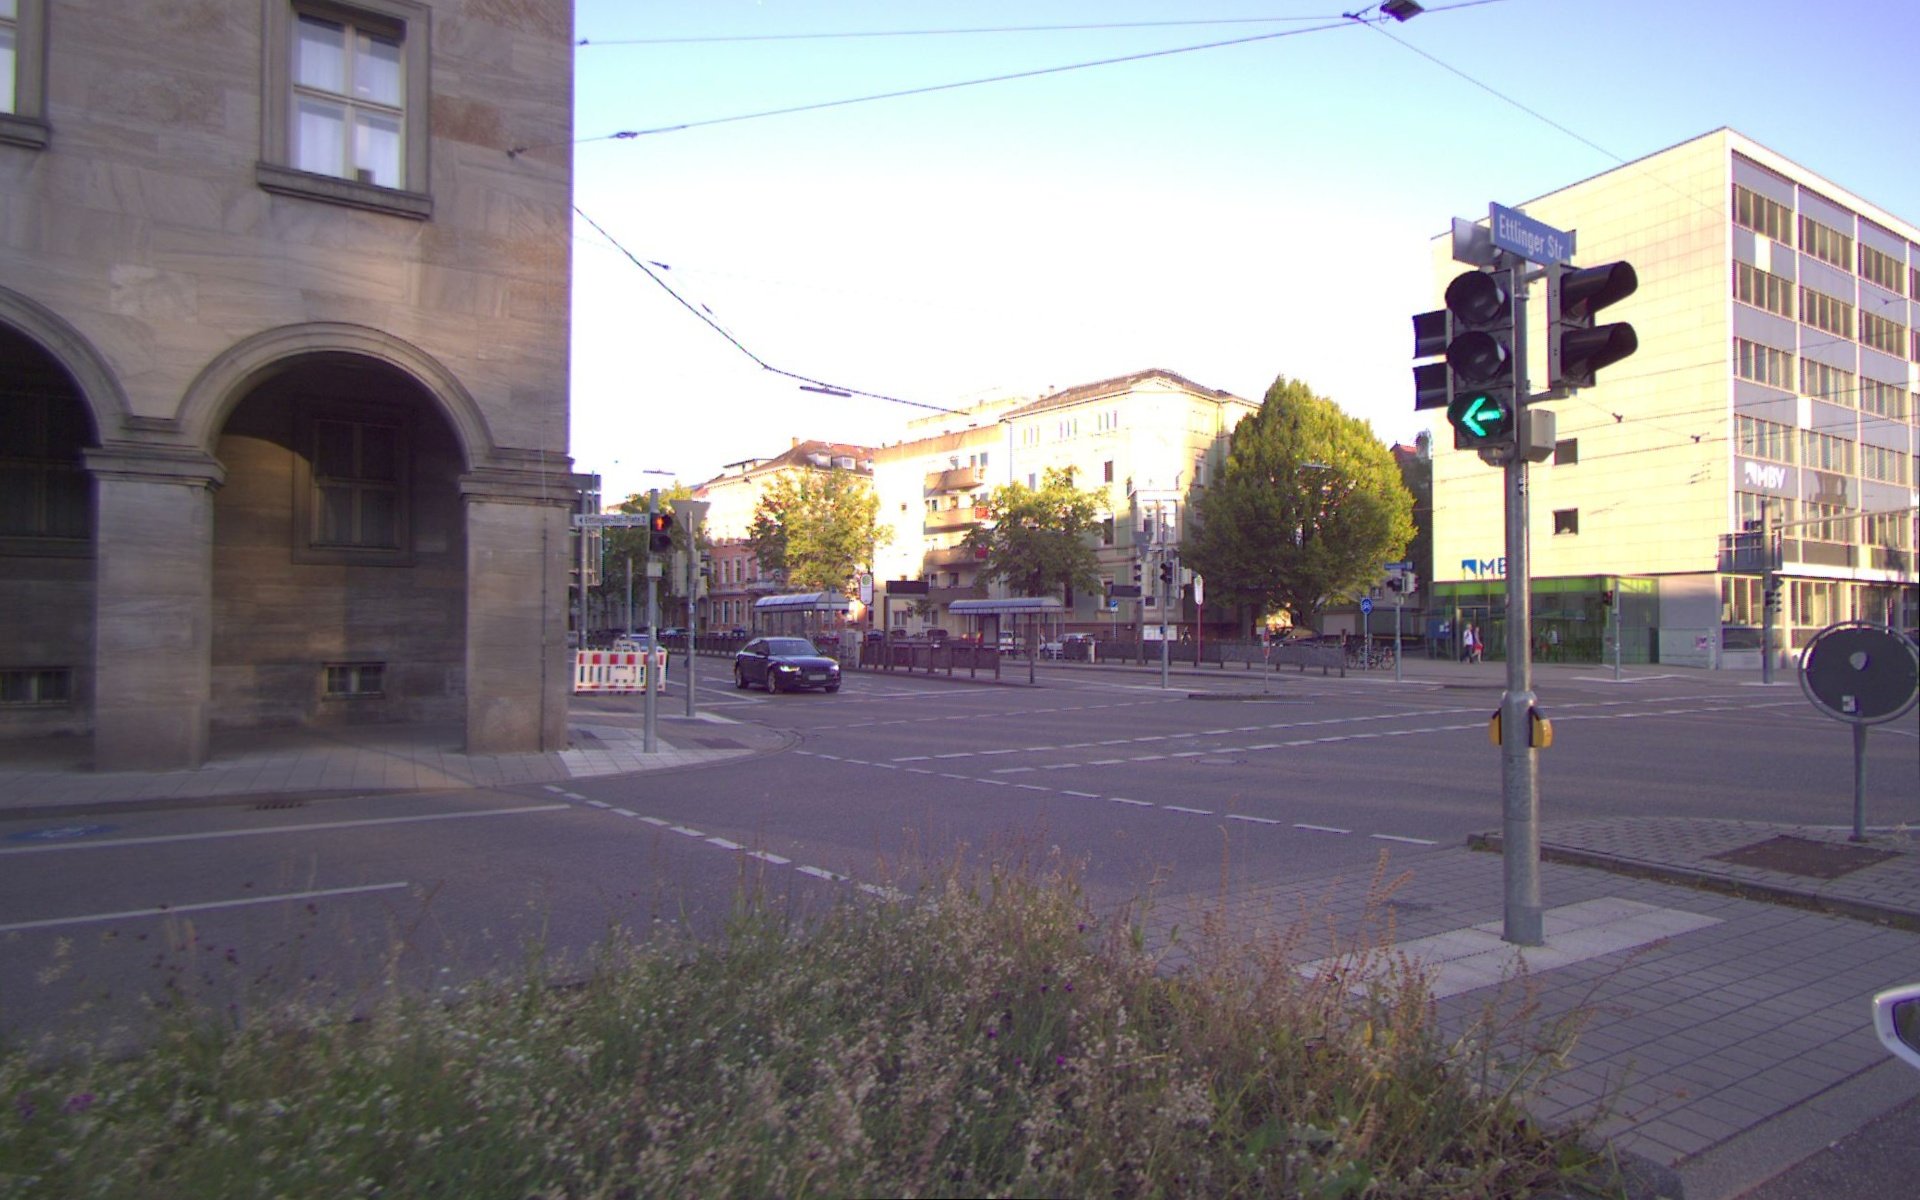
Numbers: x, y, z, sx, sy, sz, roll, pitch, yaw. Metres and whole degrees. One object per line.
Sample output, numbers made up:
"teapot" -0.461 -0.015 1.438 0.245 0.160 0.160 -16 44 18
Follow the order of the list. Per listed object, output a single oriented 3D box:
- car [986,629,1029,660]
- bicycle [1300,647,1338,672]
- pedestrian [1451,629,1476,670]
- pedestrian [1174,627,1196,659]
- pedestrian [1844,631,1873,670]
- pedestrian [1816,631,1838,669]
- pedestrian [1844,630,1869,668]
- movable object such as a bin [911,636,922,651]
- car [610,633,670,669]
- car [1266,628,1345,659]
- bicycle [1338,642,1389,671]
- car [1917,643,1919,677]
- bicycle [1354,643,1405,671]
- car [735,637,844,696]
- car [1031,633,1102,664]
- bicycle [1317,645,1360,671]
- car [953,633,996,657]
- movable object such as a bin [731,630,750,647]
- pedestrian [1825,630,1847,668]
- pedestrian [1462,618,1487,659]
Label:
"car" 3.023 2.801 62.888 1.687 1.747 4.213 2 -3 16
"bicycle" 15.678 2.591 43.880 1.537 1.089 0.739 1 -2 -28
"pedestrian" 22.347 2.197 44.557 0.700 1.791 0.730 1 -2 -29
"pedestrian" 12.538 2.381 55.986 0.704 1.791 0.976 2 -2 -45
"pedestrian" 41.891 2.327 46.840 0.777 1.791 0.836 1 -2 -34
"pedestrian" 41.326 2.362 47.868 0.639 1.791 0.649 1 -2 -34
"pedestrian" 42.518 2.300 47.633 0.666 1.791 0.734 2 -2 -34
"movable object such as a bin" -3.287 3.292 76.128 0.552 1.061 0.563 2 -2 -44
"car" -13.653 2.149 42.737 1.628 1.446 3.940 1 -2 -30
"car" 18.103 2.281 52.645 3.950 1.594 1.789 1 -3 -30
"bicycle" 16.966 2.376 42.175 2.210 1.147 0.739 0 -1 -28
"car" 42.778 2.605 42.945 3.823 1.430 1.684 1 2 -30
"bicycle" 17.147 2.311 41.100 1.833 1.089 0.742 0 -1 -13
"car" -4.747 1.761 27.564 1.628 1.446 4.199 1 -2 -30
"car" 6.026 2.729 57.226 1.672 1.573 3.953 -2 0 -40
"bicycle" 16.089 2.444 42.687 1.739 1.089 0.739 1 -2 -28
"car" 0.979 2.844 64.433 1.612 1.473 4.212 0 -2 17
"movable object such as a bin" -19.854 3.497 90.731 1.136 1.521 1.381 2 -3 -43
"pedestrian" 42.067 2.348 48.239 0.639 1.791 0.649 1 -2 -34
"pedestrian" 22.997 1.717 44.901 0.700 1.791 0.741 1 -2 -29
